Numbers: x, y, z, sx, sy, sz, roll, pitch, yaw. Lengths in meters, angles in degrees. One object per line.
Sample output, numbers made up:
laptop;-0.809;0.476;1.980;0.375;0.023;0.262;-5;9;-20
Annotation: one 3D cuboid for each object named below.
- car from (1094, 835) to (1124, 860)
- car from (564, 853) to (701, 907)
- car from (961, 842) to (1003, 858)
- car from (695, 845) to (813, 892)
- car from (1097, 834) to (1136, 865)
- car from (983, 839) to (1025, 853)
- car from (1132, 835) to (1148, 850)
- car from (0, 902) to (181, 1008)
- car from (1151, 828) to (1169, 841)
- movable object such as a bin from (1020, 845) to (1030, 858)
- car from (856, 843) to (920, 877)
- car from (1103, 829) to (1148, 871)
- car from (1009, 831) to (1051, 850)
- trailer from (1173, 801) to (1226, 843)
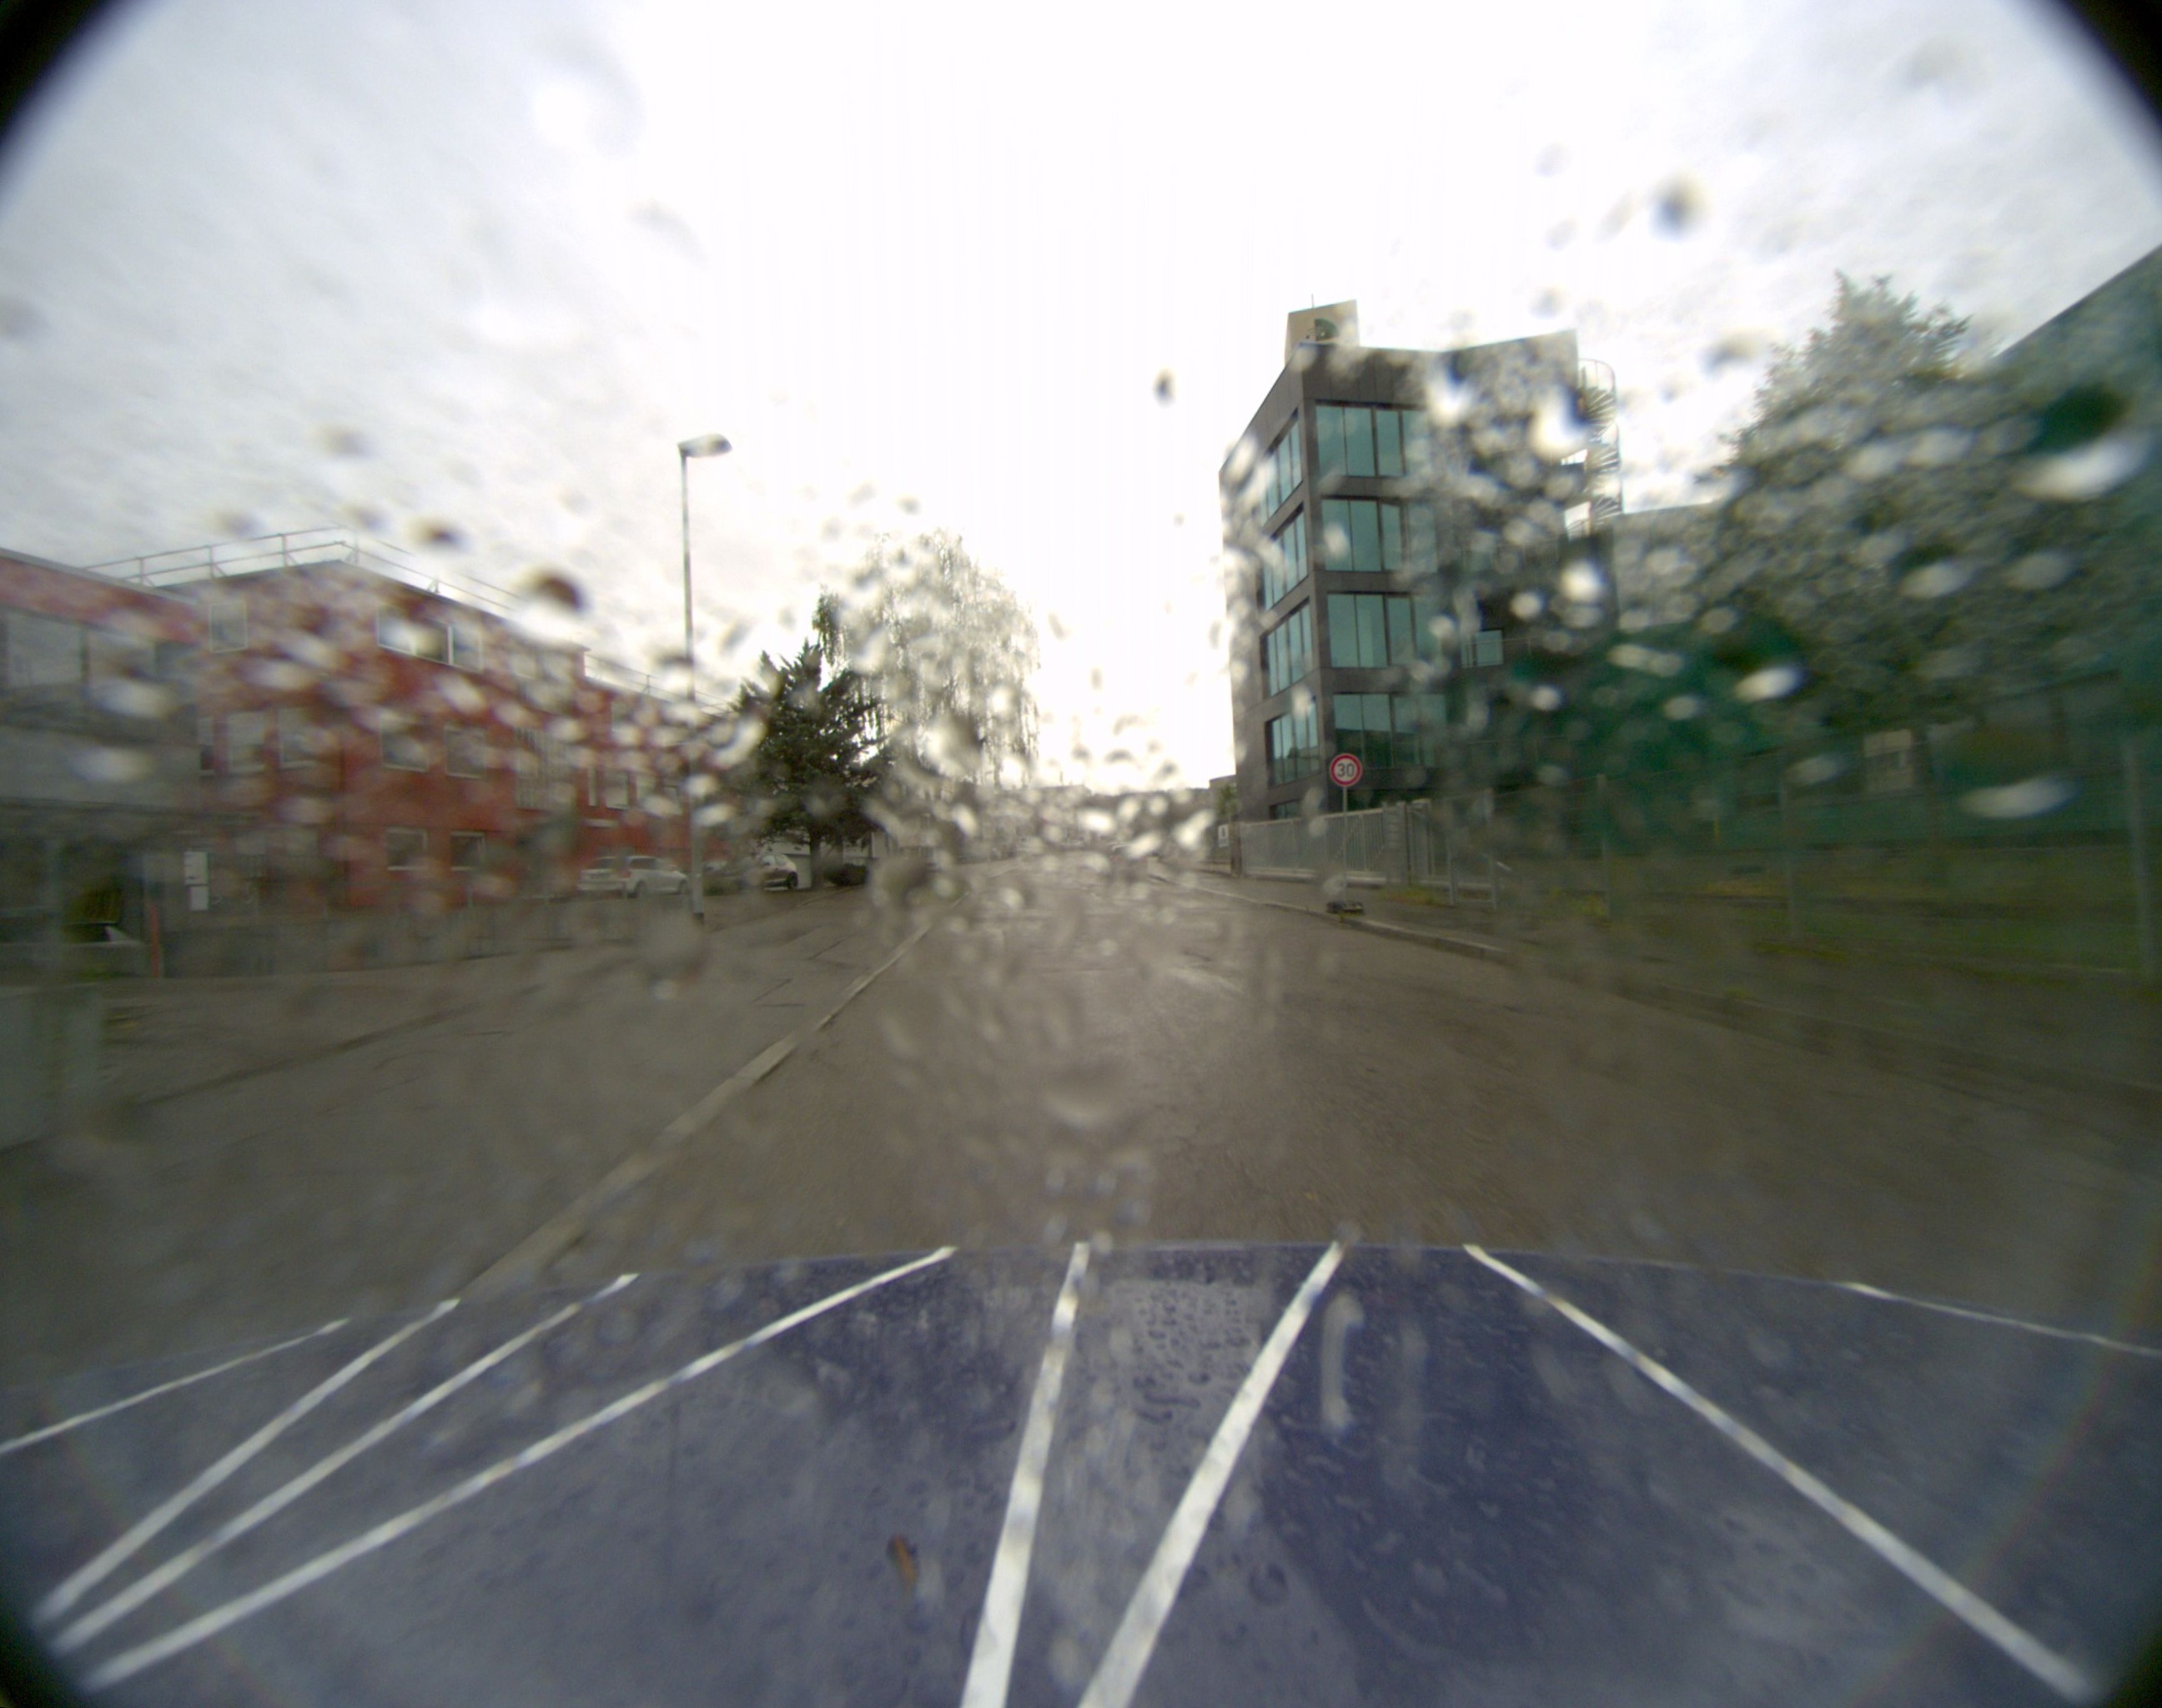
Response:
car;1.833;-0.481;51.263;1.739;1.527;4.248;-3;1;-1
car;-14.303;0.760;24.560;1.909;1.462;4.327;-1;1;-2
car;-9.833;-0.368;75.586;3.746;1.531;1.631;-1;1;8
car;-13.033;0.526;30.681;1.999;1.570;4.515;-4;1;13
car;1.828;-0.249;40.160;1.637;1.549;4.082;-1;1;-3
car;-9.240;-0.995;91.117;4.619;1.489;1.942;-2;2;10
car;7.687;-1.497;99.093;1.998;1.902;4.001;1;1;4
car;-17.399;1.643;12.654;3.041;1.487;1.630;-1;2;6
car;12.424;-3.042;119.320;1.996;2.002;4.004;-2;1;15
movable object such as a bin;-5.002;-0.226;68.162;0.736;1.084;0.594;-2;2;4
car;-12.378;0.384;48.773;3.441;1.490;1.619;-11;-1;14
car;1.988;-0.224;35.031;1.744;1.787;3.957;-2;1;-1
car;-6.826;-1.795;101.801;5.148;2.281;2.203;-2;2;12
trailer;11.998;-3.177;76.947;2.393;4.066;4.686;-4;2;-42
